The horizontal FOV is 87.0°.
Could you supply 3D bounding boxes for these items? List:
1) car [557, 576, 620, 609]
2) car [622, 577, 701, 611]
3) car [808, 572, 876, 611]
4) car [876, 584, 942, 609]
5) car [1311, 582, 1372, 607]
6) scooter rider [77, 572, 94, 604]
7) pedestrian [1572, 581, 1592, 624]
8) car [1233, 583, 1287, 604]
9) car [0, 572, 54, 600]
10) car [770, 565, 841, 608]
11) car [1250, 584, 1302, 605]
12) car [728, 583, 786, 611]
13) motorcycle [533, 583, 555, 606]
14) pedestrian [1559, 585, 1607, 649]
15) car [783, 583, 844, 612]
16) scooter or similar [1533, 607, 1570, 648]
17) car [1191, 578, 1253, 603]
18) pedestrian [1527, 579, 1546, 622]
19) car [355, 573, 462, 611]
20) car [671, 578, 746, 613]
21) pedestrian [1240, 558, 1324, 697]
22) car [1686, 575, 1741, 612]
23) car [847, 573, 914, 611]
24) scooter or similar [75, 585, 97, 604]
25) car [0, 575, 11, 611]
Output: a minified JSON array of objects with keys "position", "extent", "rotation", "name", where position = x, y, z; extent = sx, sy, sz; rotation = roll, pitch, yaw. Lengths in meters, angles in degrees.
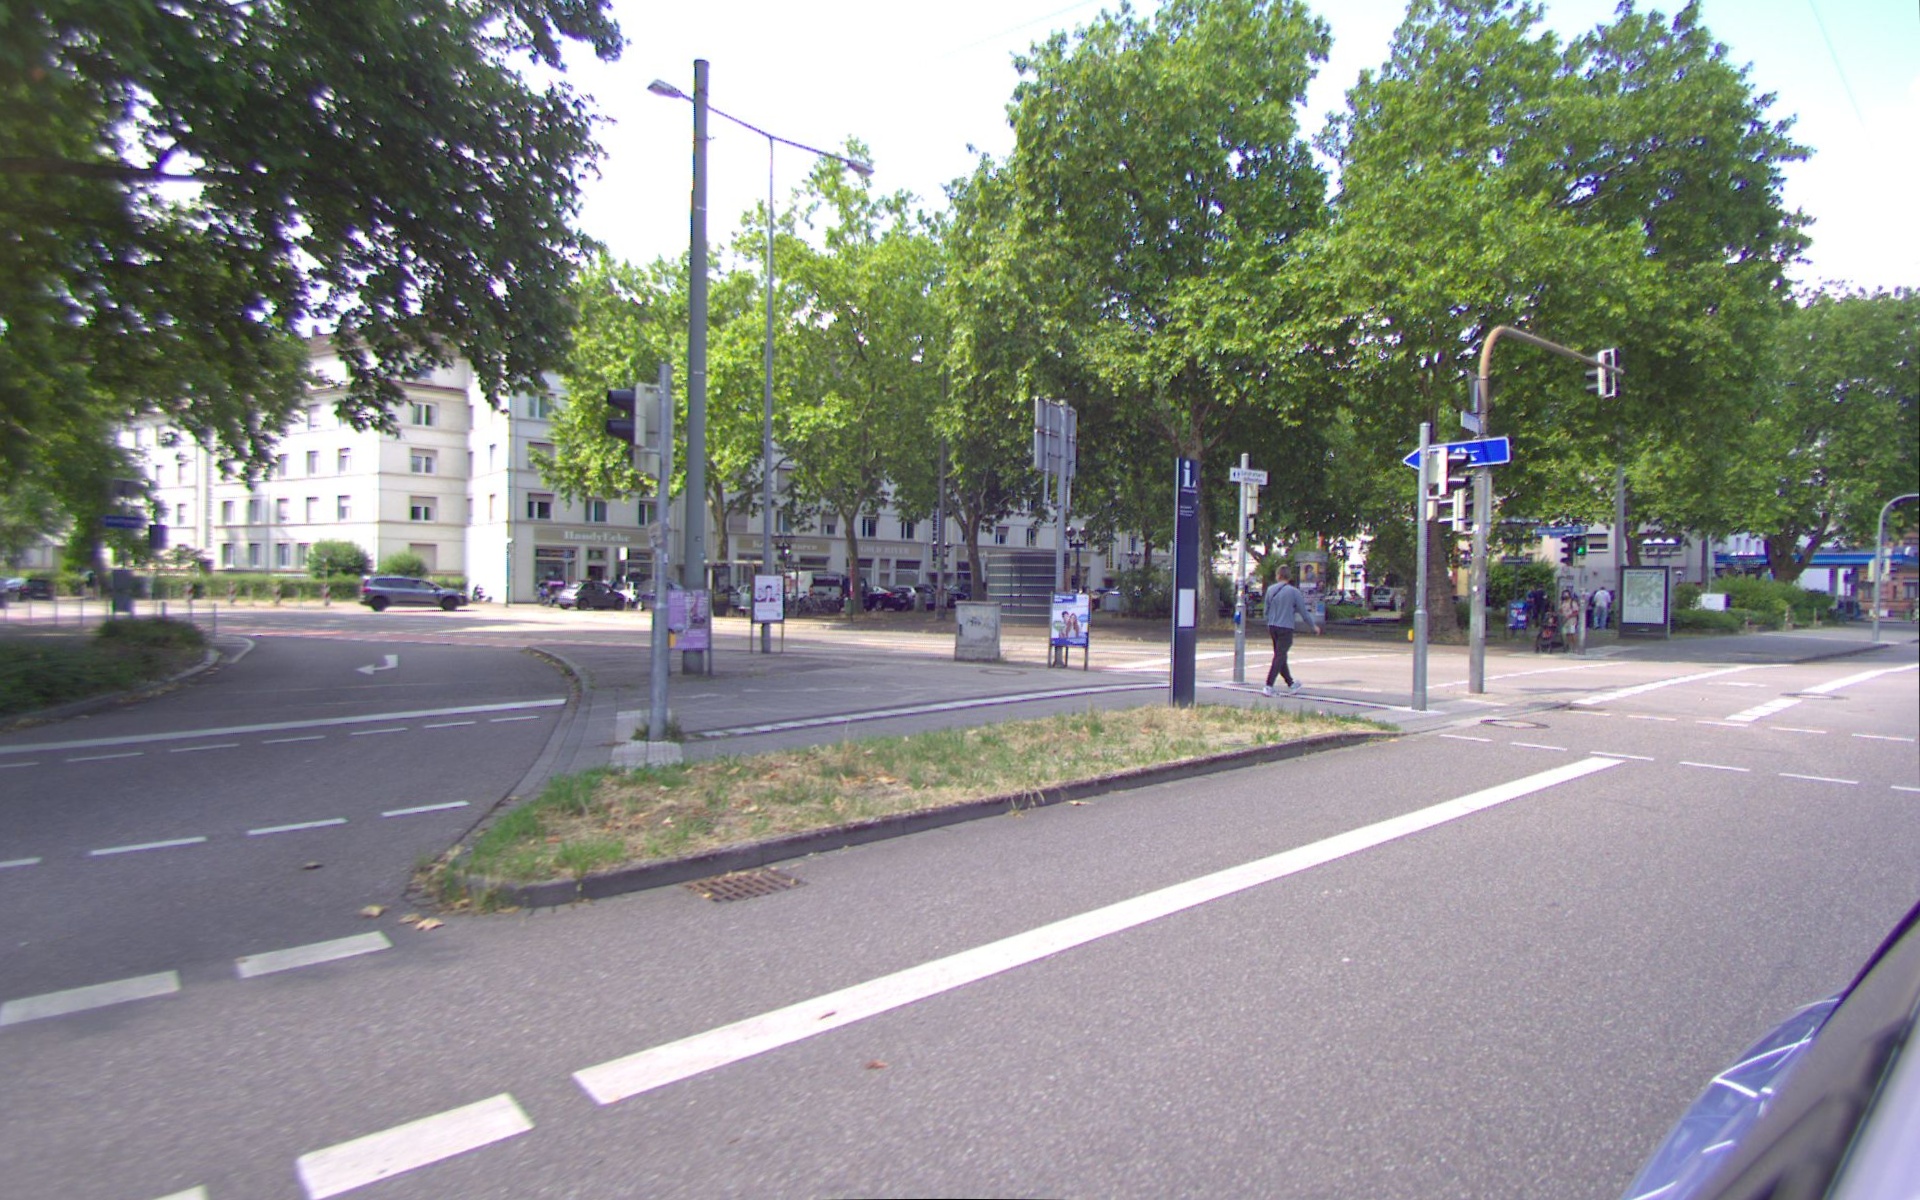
[{"position":[-21.805,-0.474,59.291],"extent":[1.879,1.818,4.711],"rotation":[0,1,-42],"name":"car"},{"position":[-14.839,-0.335,50.176],"extent":[1.999,1.620,4.531],"rotation":[0,1,-42],"name":"car"},{"position":[-6.736,-0.486,57.446],"extent":[1.964,2.102,3.996],"rotation":[0,1,-39],"name":"car"},{"position":[-3.061,-0.227,60.441],"extent":[1.964,1.440,3.996],"rotation":[0,1,-39],"name":"car"},{"position":[29.137,-0.446,77.275],"extent":[1.835,1.822,3.997],"rotation":[0,1,-38],"name":"car"},{"position":[-52.252,-0.718,60.467],"extent":[0.642,1.834,0.523],"rotation":[1,1,25],"name":"scooter rider"},{"position":[25.628,0.096,41.695],"extent":[0.600,1.772,0.693],"rotation":[1,1,26],"name":"pedestrian"},{"position":[25.010,-0.534,84.439],"extent":[1.821,1.701,3.997],"rotation":[0,1,-38],"name":"car"},{"position":[-54.848,-0.828,59.124],"extent":[3.598,1.574,1.715],"rotation":[1,1,27],"name":"car"},{"position":[-8.486,-0.744,55.281],"extent":[1.964,2.210,4.253],"rotation":[0,1,-39],"name":"car"},{"position":[26.914,-0.484,86.197],"extent":[1.721,1.682,3.997],"rotation":[0,1,-38],"name":"car"},{"position":[-10.700,-0.184,53.263],"extent":[3.225,1.406,1.447],"rotation":[1,1,43],"name":"car"},{"position":[-23.446,-0.318,57.059],"extent":[0.562,1.259,1.881],"rotation":[0,1,-42],"name":"motorcycle"},{"position":[16.732,0.446,27.210],"extent":[0.907,1.666,0.569],"rotation":[1,0,8],"name":"pedestrian"},{"position":[-7.367,-0.156,50.782],"extent":[3.054,1.406,1.448],"rotation":[1,1,41],"name":"car"},{"position":[15.976,0.733,27.325],"extent":[0.696,1.069,0.490],"rotation":[1,1,8],"name":"scooter or similar"},{"position":[21.000,-0.794,81.258],"extent":[2.066,1.929,4.488],"rotation":[0,1,-38],"name":"car"},{"position":[24.497,0.011,43.005],"extent":[0.600,1.772,0.693],"rotation":[1,1,26],"name":"pedestrian"},{"position":[-25.286,-0.377,46.437],"extent":[4.229,1.682,1.794],"rotation":[0,1,-31],"name":"car"},{"position":[-13.122,-0.271,52.674],"extent":[1.879,1.711,4.531],"rotation":[0,1,-42],"name":"car"},{"position":[4.346,0.349,13.649],"extent":[0.871,1.805,0.694],"rotation":[0,0,-38],"name":"pedestrian"},{"position":[50.689,-0.444,68.079],"extent":[3.928,2.450,2.110],"rotation":[0,1,-39],"name":"car"},{"position":[-4.657,-0.492,58.755],"extent":[1.964,2.102,3.996],"rotation":[0,1,-39],"name":"car"},{"position":[-52.186,-0.346,60.437],"extent":[1.278,1.105,0.546],"rotation":[1,1,26],"name":"scooter or similar"},{"position":[-46.979,-0.363,48.013],"extent":[3.717,1.682,1.849],"rotation":[2,1,30],"name":"car"}]
